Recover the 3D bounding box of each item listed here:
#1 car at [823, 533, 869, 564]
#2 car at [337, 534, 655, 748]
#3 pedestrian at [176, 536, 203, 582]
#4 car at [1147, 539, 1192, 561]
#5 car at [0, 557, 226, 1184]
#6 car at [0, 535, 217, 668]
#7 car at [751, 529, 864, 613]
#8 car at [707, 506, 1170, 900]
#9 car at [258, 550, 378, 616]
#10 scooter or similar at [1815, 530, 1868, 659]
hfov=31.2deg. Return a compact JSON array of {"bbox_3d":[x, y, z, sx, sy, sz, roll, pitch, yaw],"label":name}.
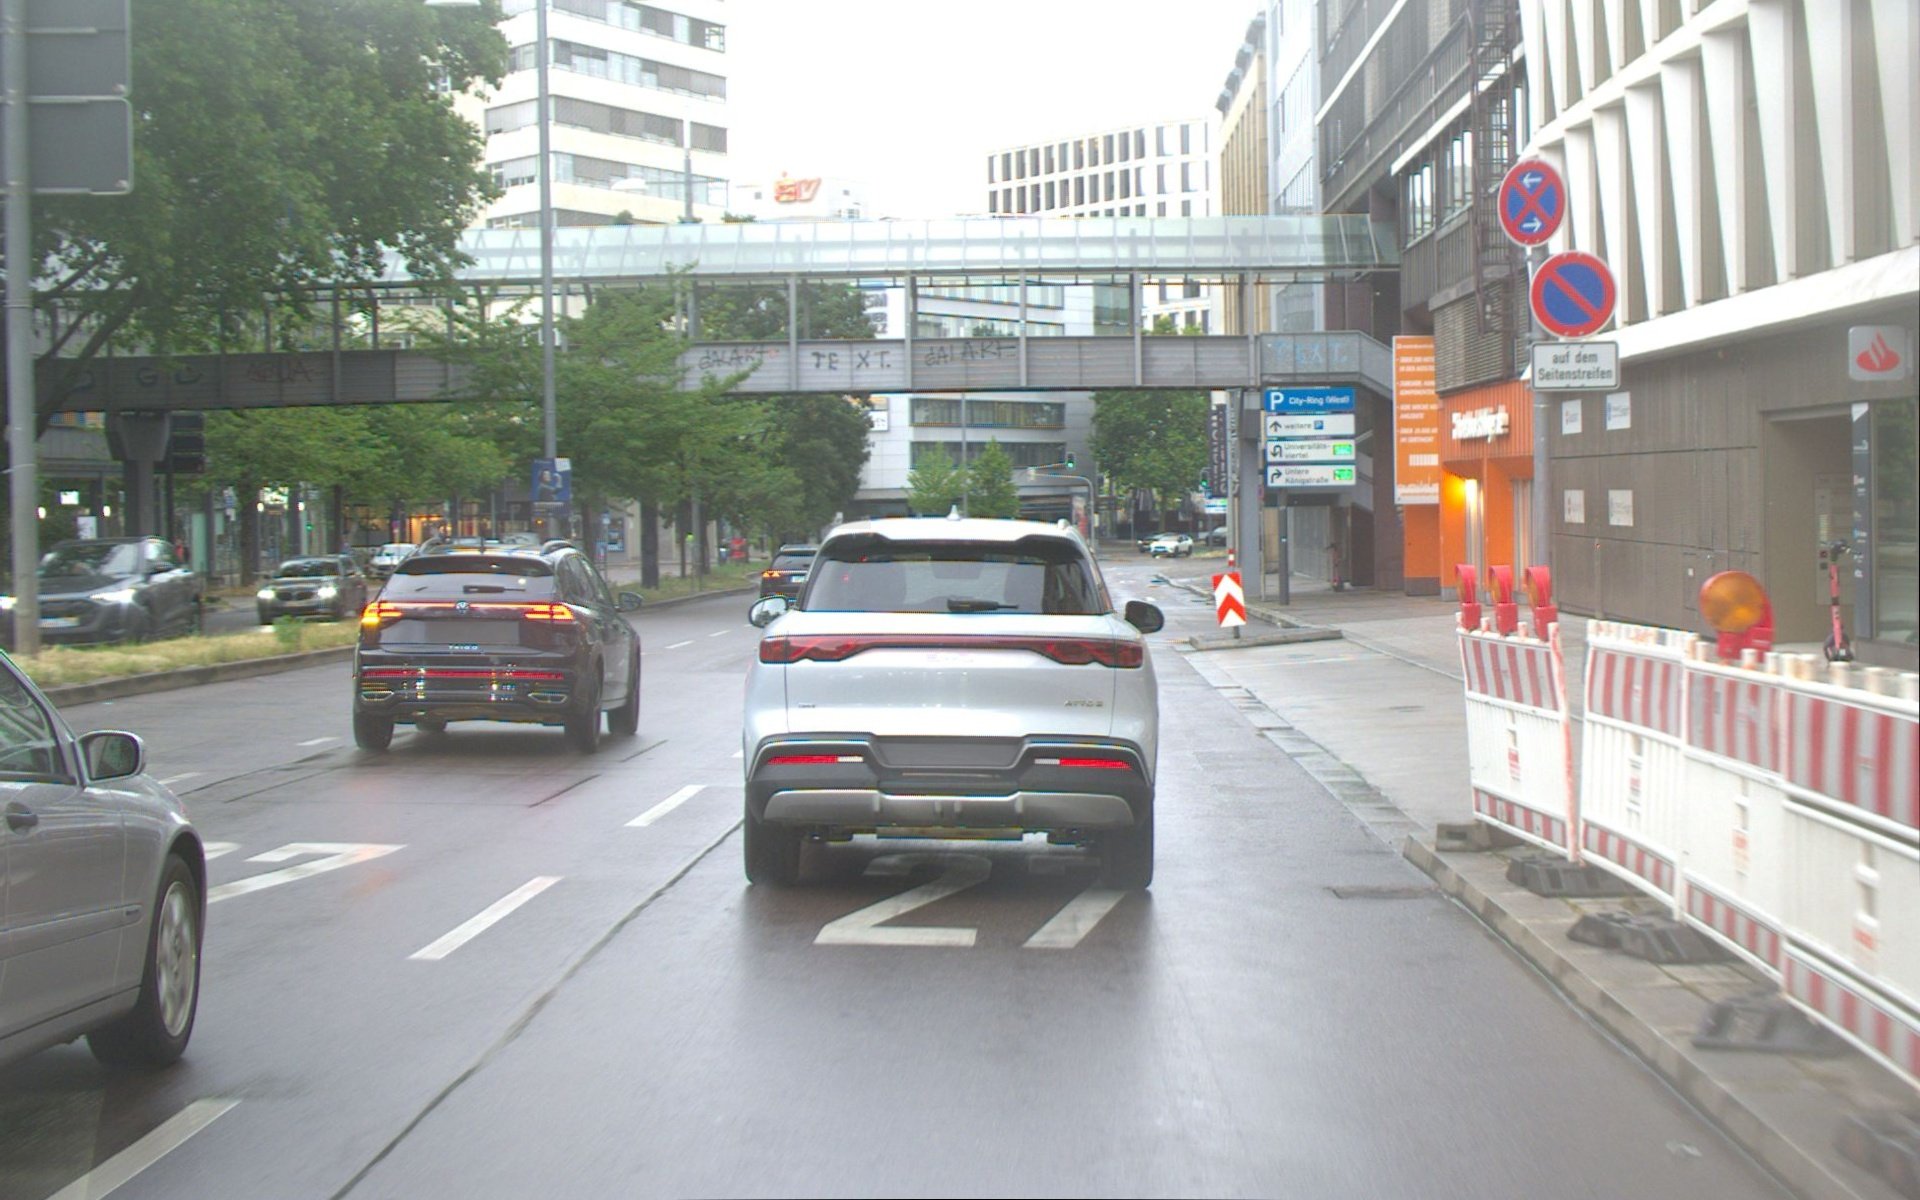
[{"bbox_3d":[-4.935,-2.243,149.071,1.653,1.337,4.000,0,1,3],"label":"car"},{"bbox_3d":[-3.378,0.264,25.707,1.774,1.452,4.000,-1,0,1],"label":"car"},{"bbox_3d":[-28.571,-1.529,127.469,0.743,1.709,1.057,0,1,1],"label":"pedestrian"},{"bbox_3d":[15.372,-3.678,251.625,1.583,1.533,3.993,1,1,32],"label":"car"},{"bbox_3d":[-3.087,0.631,8.138,1.672,1.474,4.360,0,0,1],"label":"car"},{"bbox_3d":[-11.501,0.001,46.272,1.874,1.674,4.681,-1,0,1],"label":"car"},{"bbox_3d":[-2.943,-0.591,67.116,1.812,1.573,4.000,0,1,3],"label":"car"},{"bbox_3d":[-0.043,0.401,16.246,1.901,1.616,4.000,-1,1,1],"label":"car"},{"bbox_3d":[-14.454,-0.392,77.625,1.691,1.433,4.759,-1,0,2],"label":"car"},{"bbox_3d":[8.550,-0.063,33.377,0.412,1.232,1.188,0,1,10],"label":"scooter or similar"}]
